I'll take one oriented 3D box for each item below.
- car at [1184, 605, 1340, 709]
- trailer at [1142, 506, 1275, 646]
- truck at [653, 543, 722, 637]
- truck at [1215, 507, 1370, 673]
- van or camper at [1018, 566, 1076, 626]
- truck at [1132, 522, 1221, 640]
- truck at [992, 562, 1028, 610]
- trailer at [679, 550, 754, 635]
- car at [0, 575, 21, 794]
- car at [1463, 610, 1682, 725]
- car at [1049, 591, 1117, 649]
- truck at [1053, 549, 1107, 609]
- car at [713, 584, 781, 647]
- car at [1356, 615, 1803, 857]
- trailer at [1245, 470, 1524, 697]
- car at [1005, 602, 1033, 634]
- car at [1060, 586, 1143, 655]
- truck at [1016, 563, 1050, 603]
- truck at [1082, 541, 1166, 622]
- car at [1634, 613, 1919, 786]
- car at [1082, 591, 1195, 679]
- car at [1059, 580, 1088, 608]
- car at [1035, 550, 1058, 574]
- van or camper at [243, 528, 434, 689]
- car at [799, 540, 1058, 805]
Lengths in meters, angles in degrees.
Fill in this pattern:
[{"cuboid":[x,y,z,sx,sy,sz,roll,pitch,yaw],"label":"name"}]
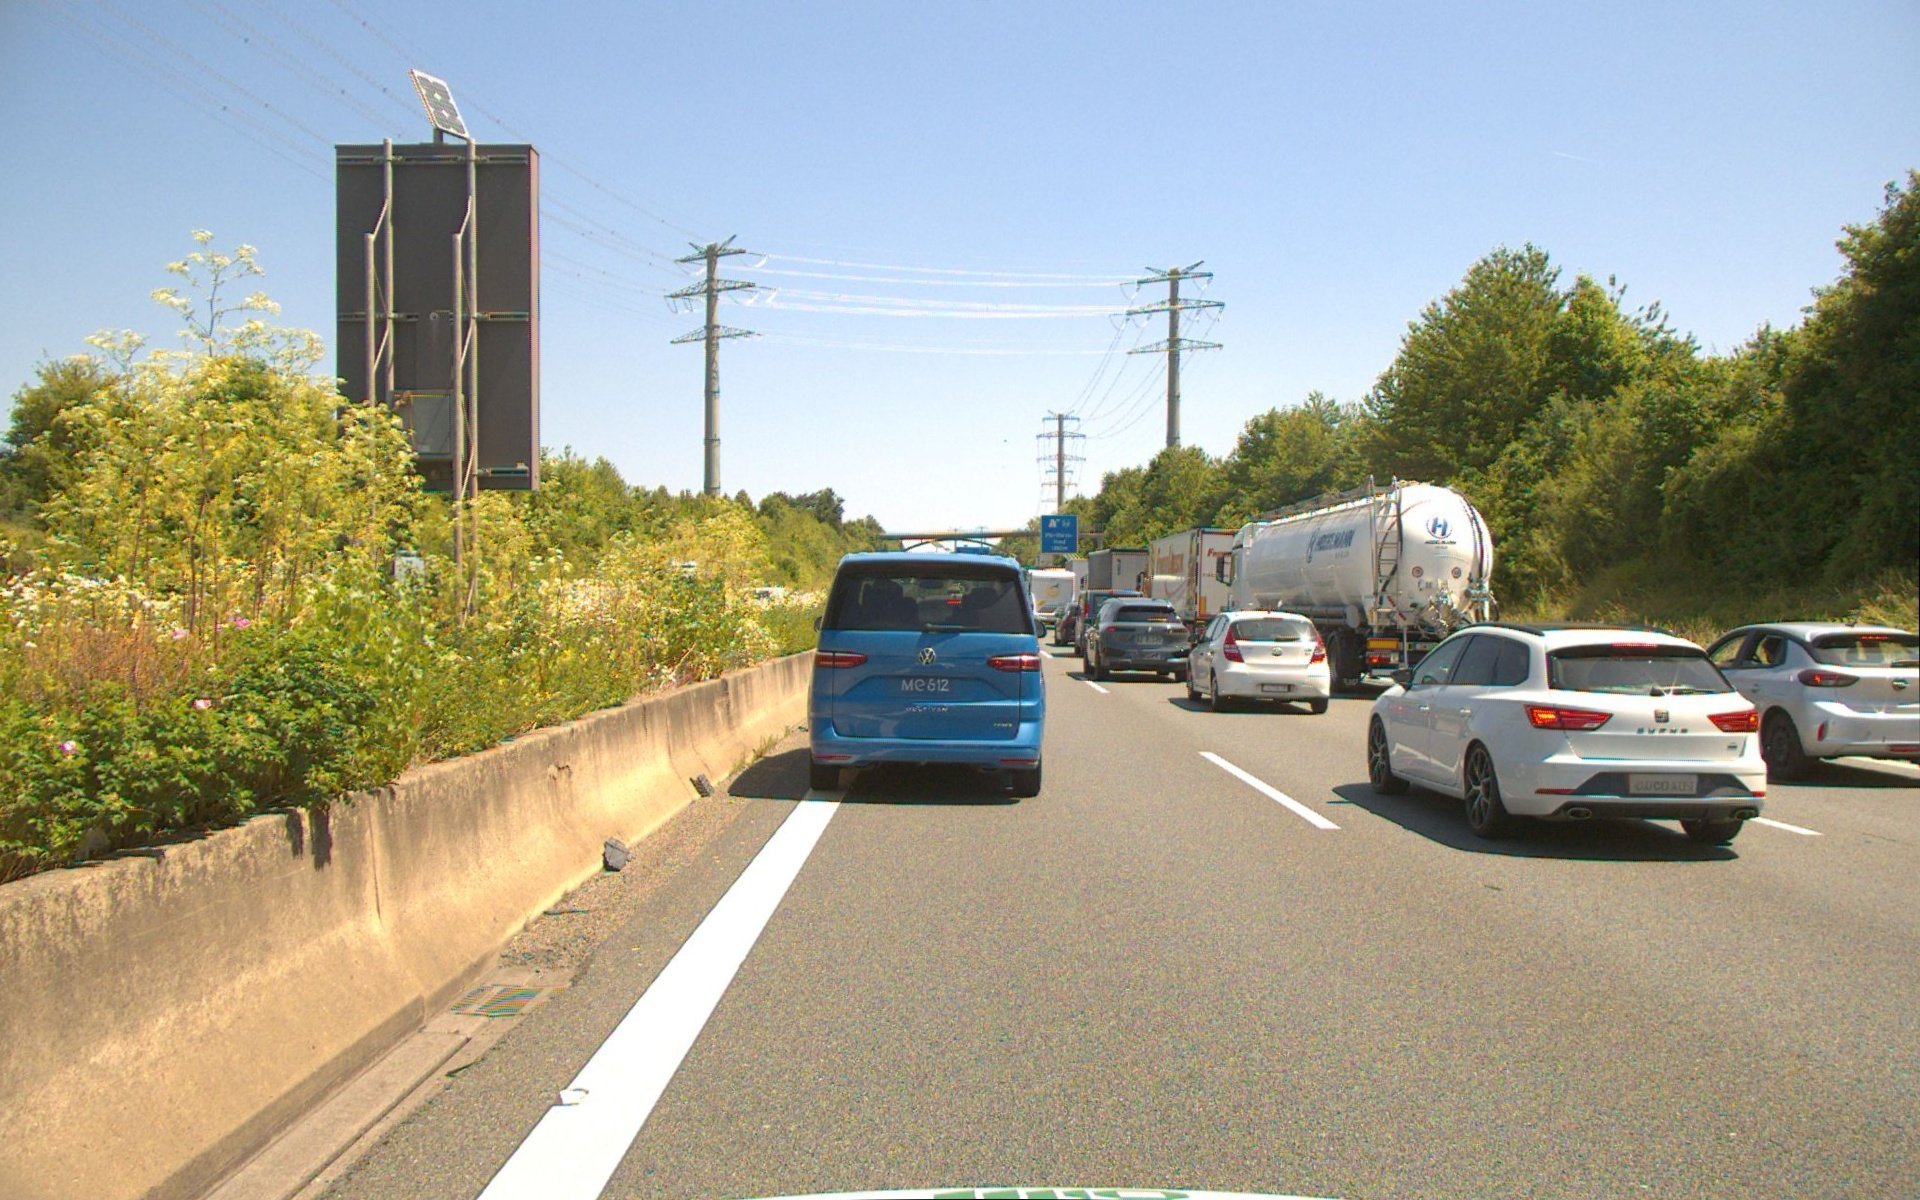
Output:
[{"cuboid":[4.658,0.863,26.036,1.779,1.511,4.000,0,-1,1],"label":"car"},{"cuboid":[8.752,-0.739,59.878,2.853,4.547,12.151,0,0,-1],"label":"trailer"},{"cuboid":[-15.246,-0.521,92.746,3.235,5.139,4.032,0,0,-1],"label":"truck"},{"cuboid":[8.297,-0.224,41.915,2.736,3.904,5.571,0,0,-1],"label":"truck"},{"cuboid":[4.609,-0.187,89.130,2.896,3.075,7.103,0,-1,1],"label":"van or camper"},{"cuboid":[8.676,-0.725,66.816,2.853,4.547,5.141,0,0,-1],"label":"truck"},{"cuboid":[4.196,-1.104,139.747,2.836,3.832,10.140,0,-1,1],"label":"truck"},{"cuboid":[-15.277,-0.401,104.625,3.254,5.136,9.590,0,-1,0],"label":"trailer"},{"cuboid":[-8.614,0.692,11.968,1.549,1.785,3.687,0,0,0],"label":"car"},{"cuboid":[8.491,0.904,23.281,1.607,1.441,3.988,-1,-1,0],"label":"car"},{"cuboid":[4.389,0.726,59.498,1.885,1.959,4.232,-1,-1,-3],"label":"car"},{"cuboid":[8.136,-1.298,113.674,2.836,3.832,13.344,0,-1,1],"label":"truck"},{"cuboid":[-7.696,0.553,60.215,1.953,2.184,4.599,1,0,-1],"label":"car"},{"cuboid":[4.294,0.867,12.253,1.712,1.468,4.313,0,-1,0],"label":"car"},{"cuboid":[8.348,-0.261,34.390,2.705,3.912,11.484,0,0,-1],"label":"trailer"},{"cuboid":[3.940,1.217,110.866,1.798,2.033,4.000,-1,-1,1],"label":"car"},{"cuboid":[4.212,0.628,49.721,1.885,1.959,4.232,-1,-1,-3],"label":"car"},{"cuboid":[8.671,-1.989,198.318,3.493,4.596,10.291,0,-1,-1],"label":"truck"},{"cuboid":[8.298,-0.796,85.721,2.944,3.832,15.712,0,-1,1],"label":"truck"},{"cuboid":[8.481,0.900,16.670,1.695,1.468,4.028,0,0,-1],"label":"car"},{"cuboid":[3.759,0.743,35.579,1.958,1.745,4.625,0,-1,0],"label":"car"},{"cuboid":[8.743,-0.443,127.849,1.953,2.049,4.000,0,-1,0],"label":"car"},{"cuboid":[8.105,-3.532,154.995,1.953,2.049,4.000,0,-1,0],"label":"car"},{"cuboid":[-11.999,0.158,32.289,2.006,2.910,4.649,0,0,0],"label":"van or camper"},{"cuboid":[-0.234,0.538,14.243,1.881,1.919,4.000,1,0,0],"label":"car"}]
